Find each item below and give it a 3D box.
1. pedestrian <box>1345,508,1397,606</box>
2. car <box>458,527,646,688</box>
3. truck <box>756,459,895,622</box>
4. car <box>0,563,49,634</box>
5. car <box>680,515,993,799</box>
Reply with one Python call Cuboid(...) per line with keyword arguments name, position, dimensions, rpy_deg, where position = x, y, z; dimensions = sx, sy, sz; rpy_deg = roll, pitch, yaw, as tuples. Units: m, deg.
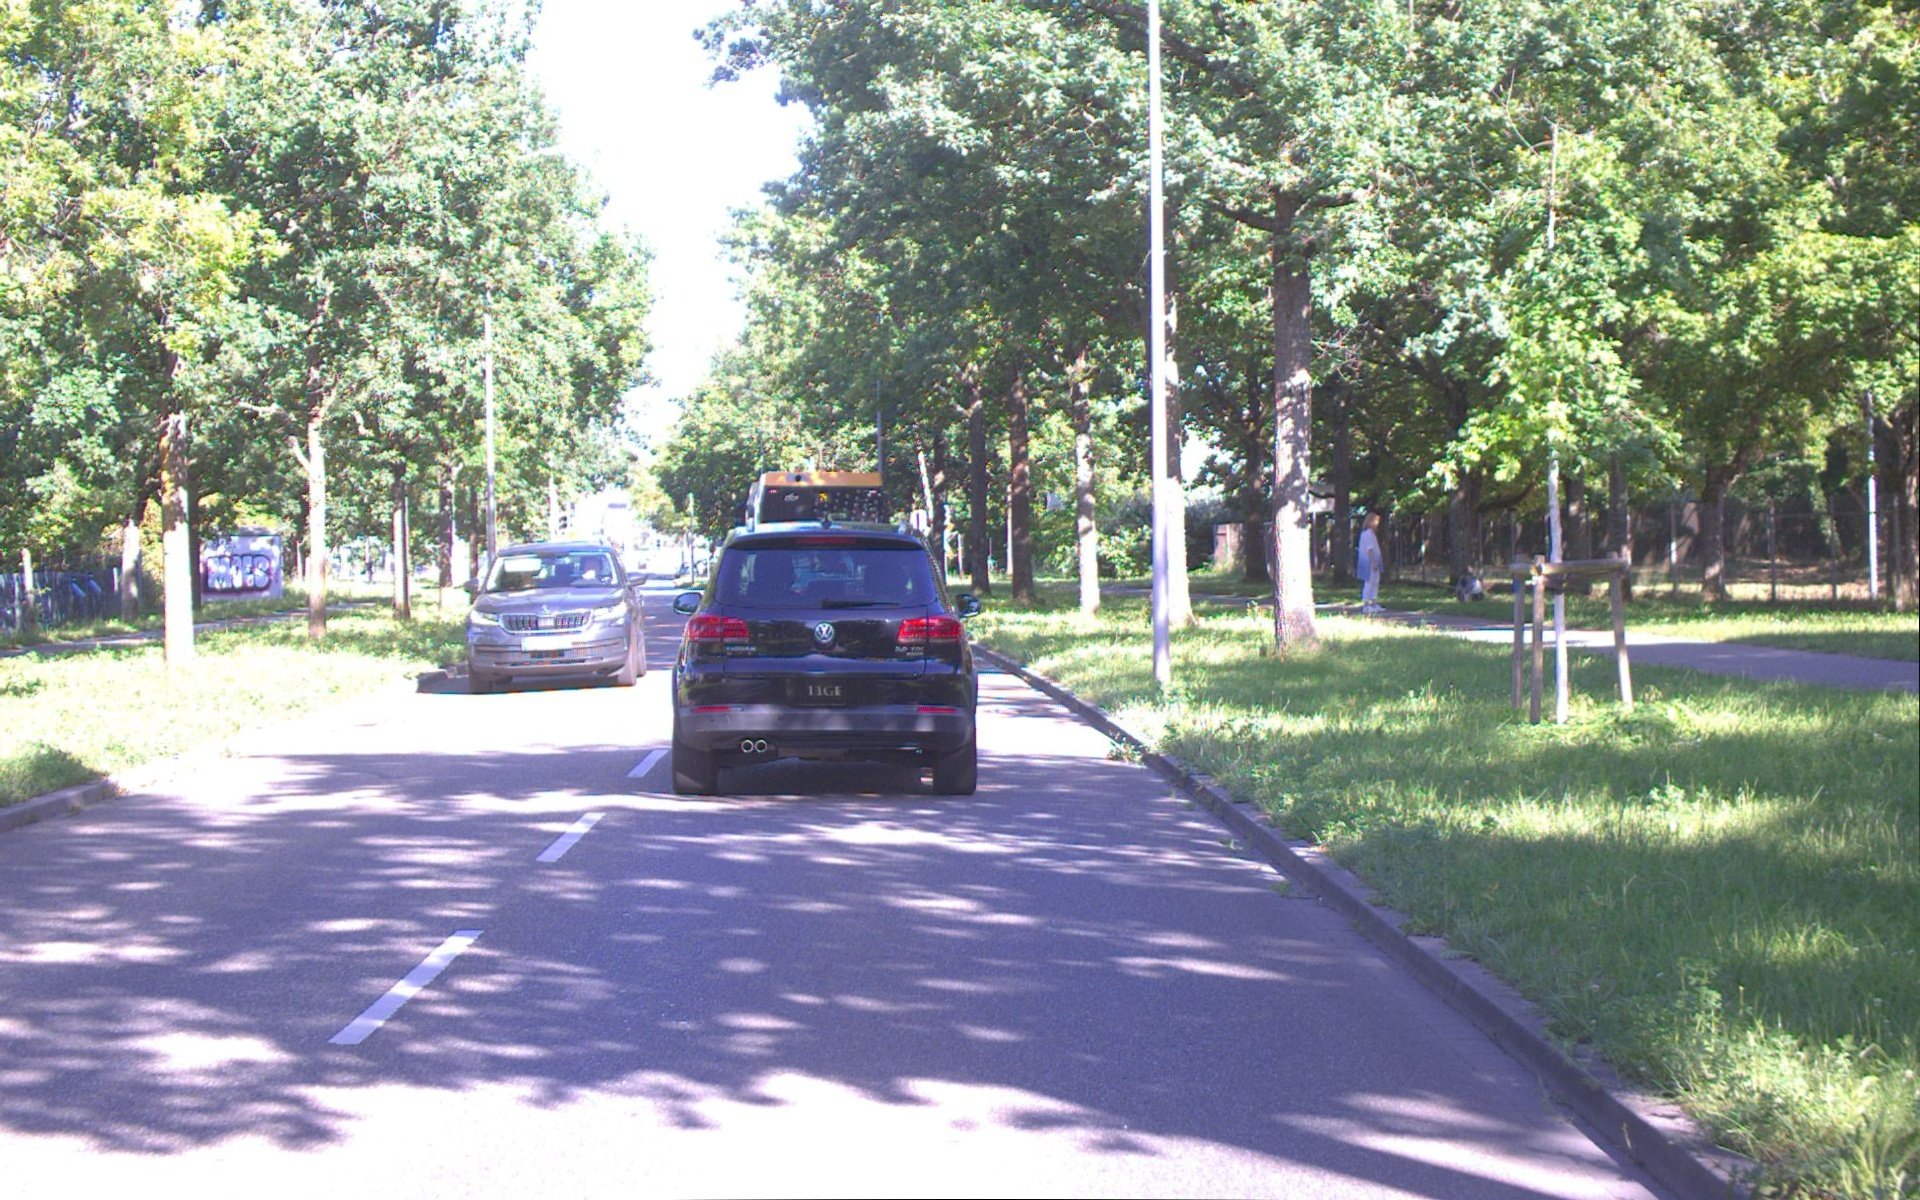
Cuboid(name="pedestrian", position=(7.044, -0.734, 58.922), dimensions=(0.717, 1.625, 0.609), rpy_deg=(-3, 1, 14))
Cuboid(name="car", position=(-4.571, 0.058, 39.003), dimensions=(1.767, 1.666, 4.200), rpy_deg=(-2, 1, -3))
Cuboid(name="truck", position=(-2.938, -1.251, 73.098), dimensions=(2.511, 3.232, 8.154), rpy_deg=(-1, 1, -5))
Cuboid(name="car", position=(-25.911, -0.060, 89.722), dimensions=(3.986, 1.795, 2.001), rpy_deg=(1, 1, -10))
Cuboid(name="car", position=(-0.876, 0.309, 21.893), dimensions=(1.782, 1.628, 4.001), rpy_deg=(1, 1, -5))
